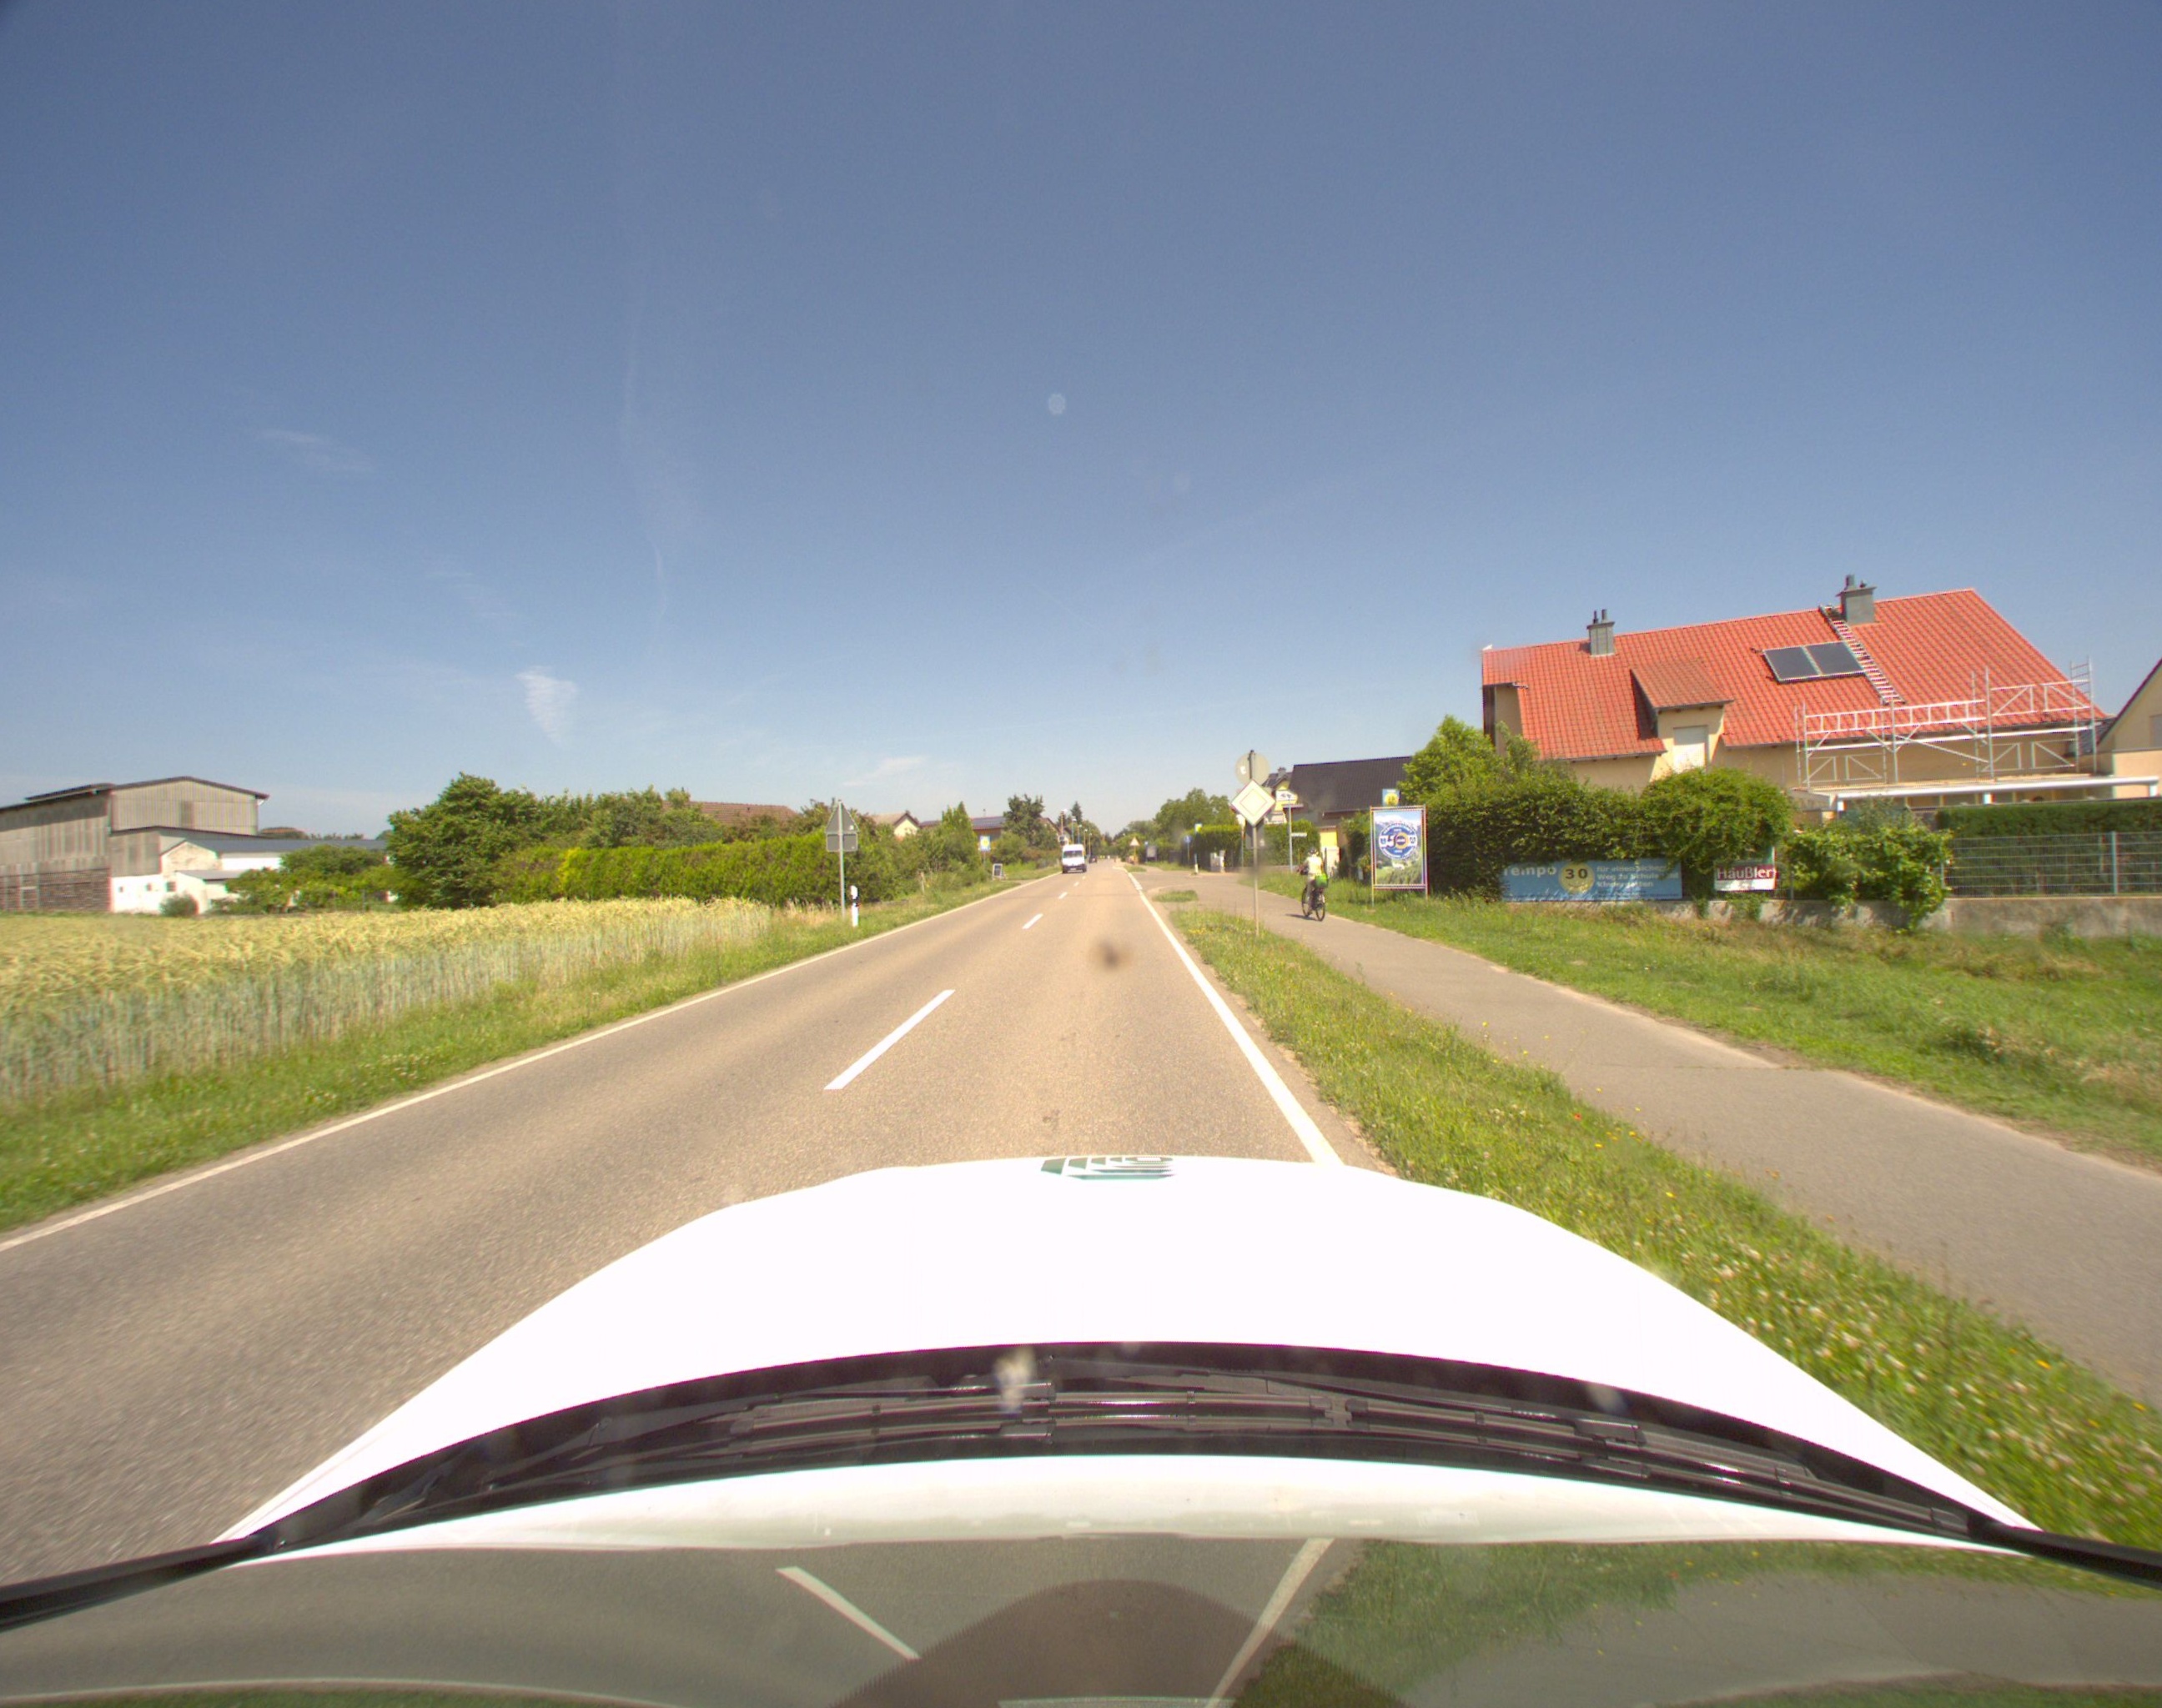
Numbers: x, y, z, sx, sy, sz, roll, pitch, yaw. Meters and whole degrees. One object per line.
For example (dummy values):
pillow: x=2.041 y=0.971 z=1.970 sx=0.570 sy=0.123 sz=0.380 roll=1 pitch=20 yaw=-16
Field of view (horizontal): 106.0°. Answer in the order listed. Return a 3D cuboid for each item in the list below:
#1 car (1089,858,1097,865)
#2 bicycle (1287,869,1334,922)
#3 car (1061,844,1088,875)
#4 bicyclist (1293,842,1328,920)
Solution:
car: x=2.817 y=1.648 z=186.104 sx=1.752 sy=1.385 sz=3.454 roll=-3 pitch=0 yaw=2
bicycle: x=5.730 y=1.008 z=20.468 sx=0.608 sy=1.158 sz=2.275 roll=-1 pitch=1 yaw=2
car: x=-0.517 y=0.473 z=72.052 sx=2.069 sy=2.542 sz=5.875 roll=-3 pitch=0 yaw=2
bicyclist: x=5.716 y=0.649 z=20.296 sx=0.642 sy=1.889 sz=0.861 roll=-1 pitch=0 yaw=1
